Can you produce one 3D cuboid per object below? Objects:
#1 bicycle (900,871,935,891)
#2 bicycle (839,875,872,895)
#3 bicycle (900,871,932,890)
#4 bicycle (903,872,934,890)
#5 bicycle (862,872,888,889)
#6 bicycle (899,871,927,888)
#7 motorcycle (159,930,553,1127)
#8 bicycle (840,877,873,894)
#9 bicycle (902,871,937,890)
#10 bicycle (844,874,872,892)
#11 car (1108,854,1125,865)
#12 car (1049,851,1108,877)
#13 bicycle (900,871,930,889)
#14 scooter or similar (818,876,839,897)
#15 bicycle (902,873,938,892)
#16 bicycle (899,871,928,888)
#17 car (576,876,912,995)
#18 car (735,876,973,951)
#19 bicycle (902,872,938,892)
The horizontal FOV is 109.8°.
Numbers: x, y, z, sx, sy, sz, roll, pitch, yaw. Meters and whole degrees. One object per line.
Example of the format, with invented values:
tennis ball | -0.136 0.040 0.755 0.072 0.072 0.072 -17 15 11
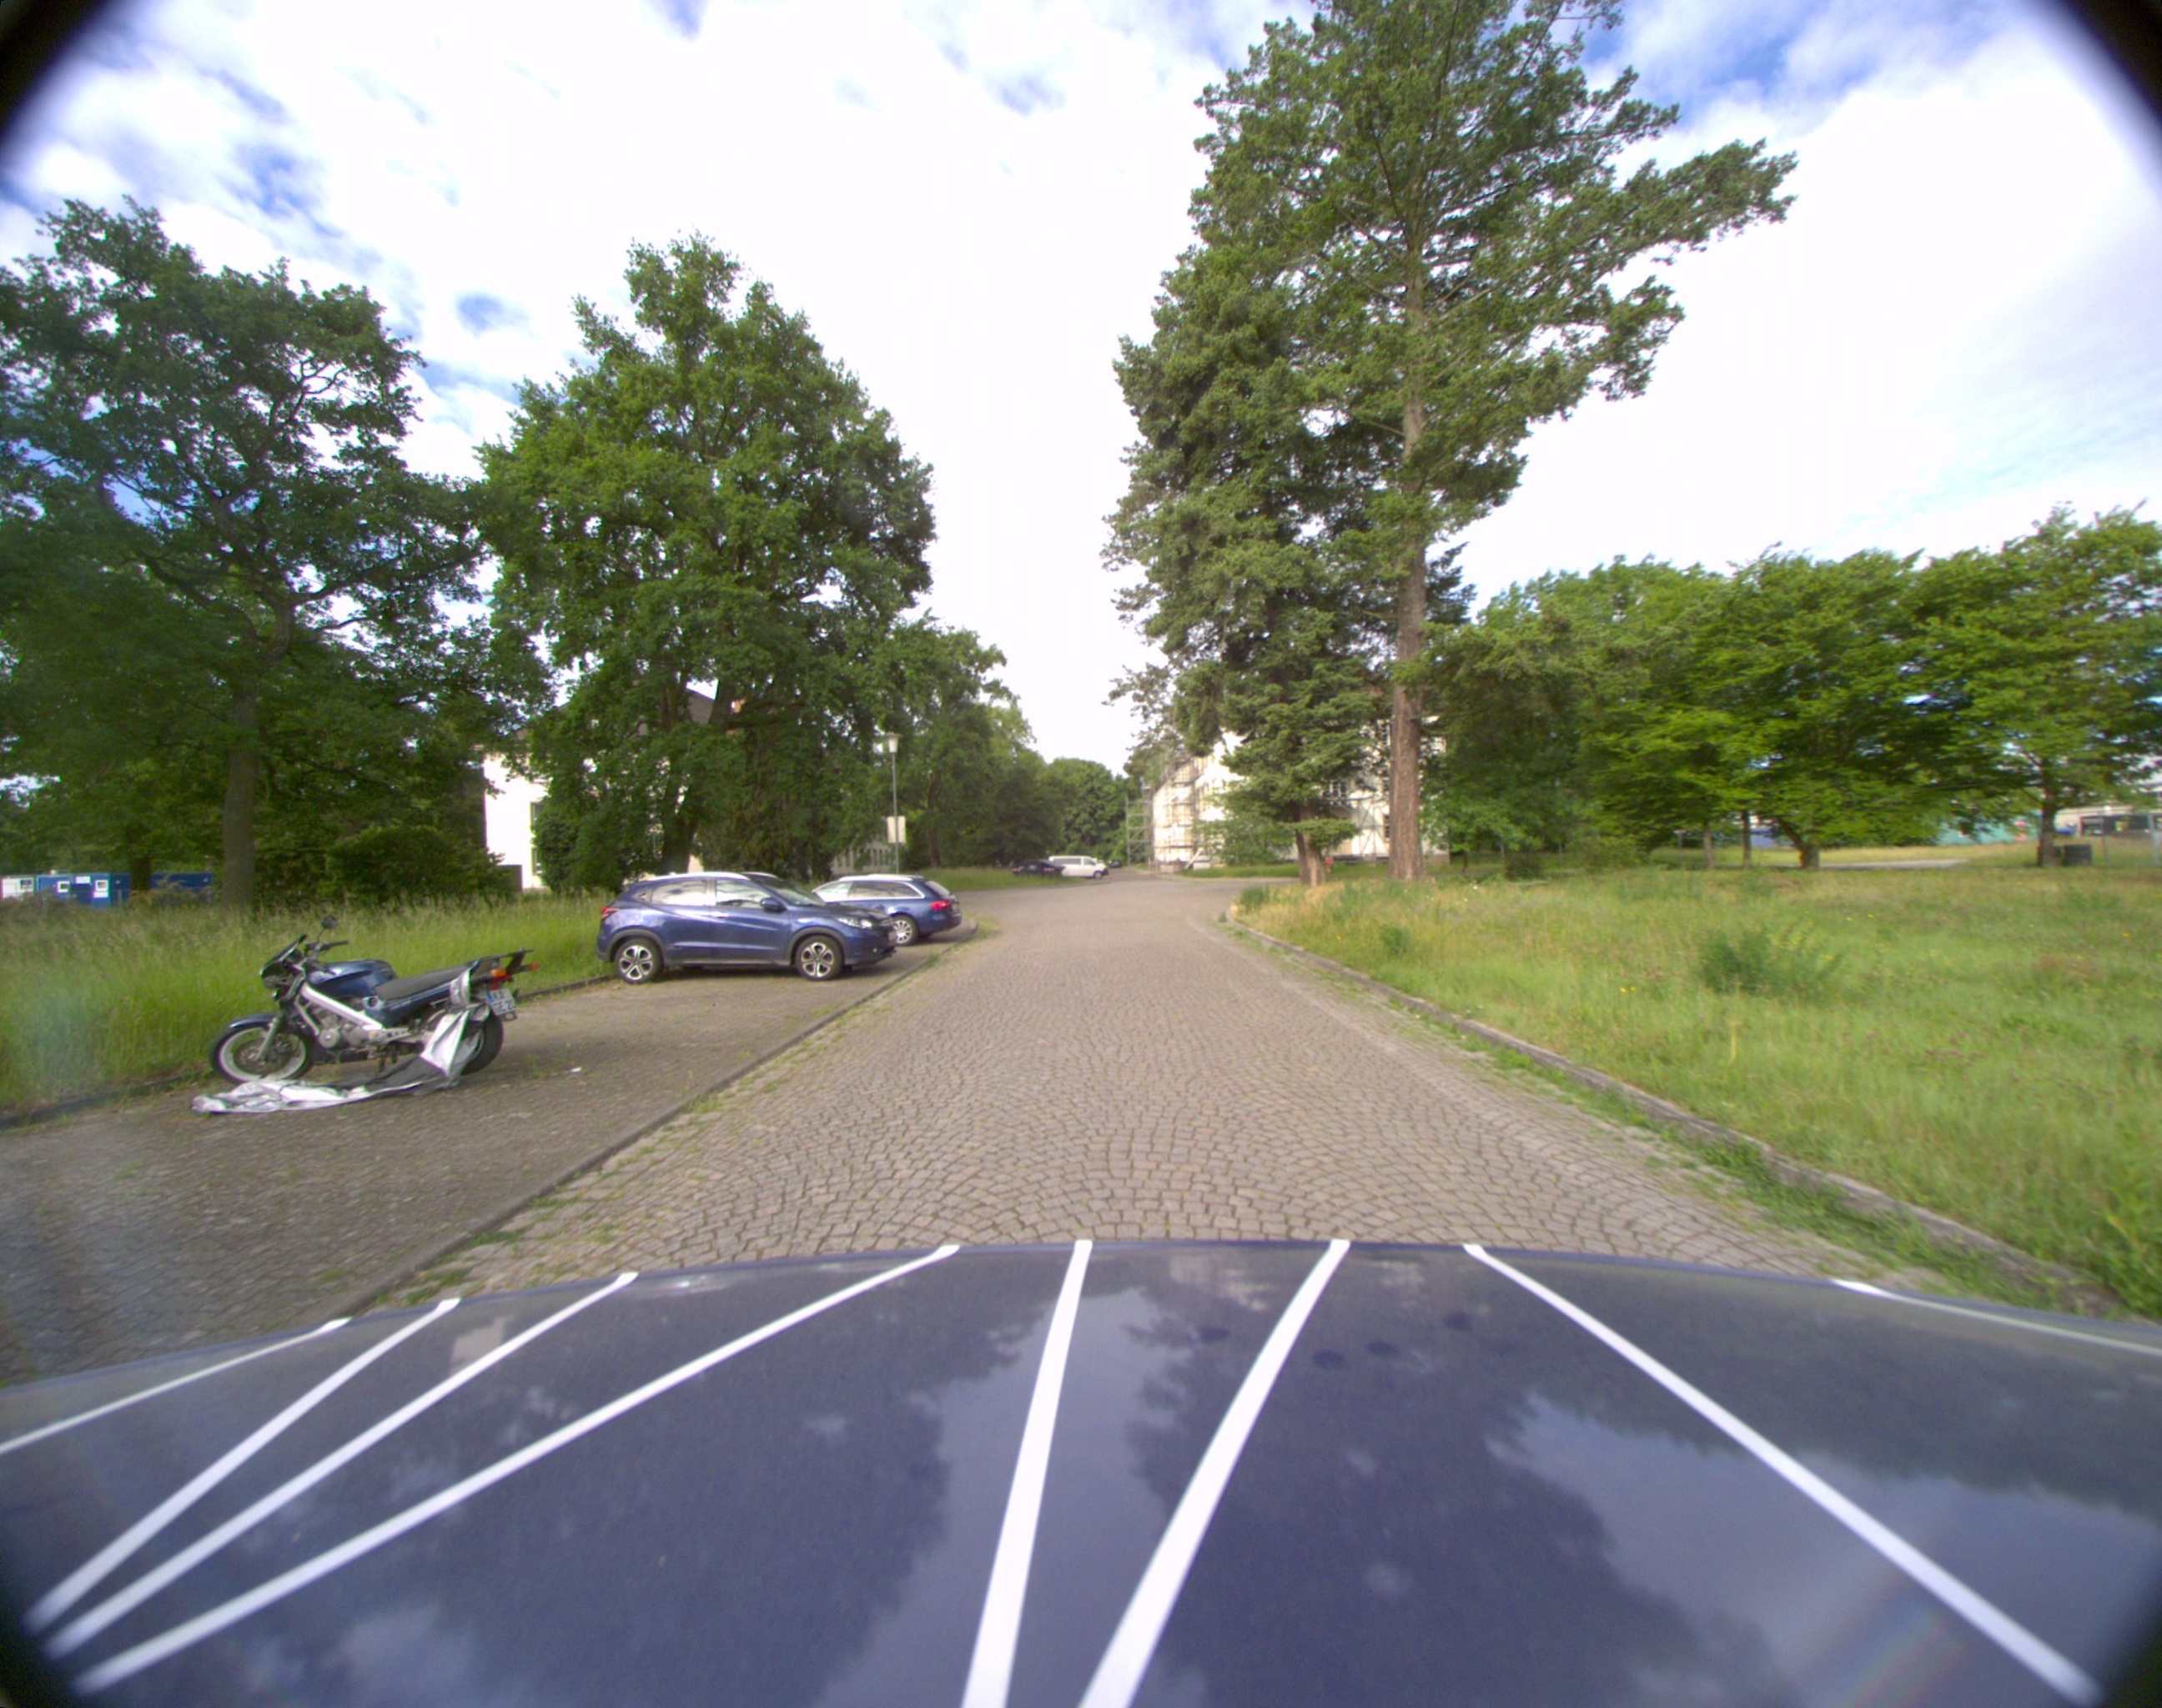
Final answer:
bicycle | -9.966 1.655 46.466 2.020 1.082 0.478 -2 2 -21
bicycle | -13.435 1.831 45.246 1.815 1.082 0.478 -2 3 -26
bicycle | -10.560 1.695 48.623 1.868 1.082 0.519 -2 2 -21
bicycle | -10.233 1.687 47.897 1.791 1.082 0.478 -2 3 -21
bicycle | -13.554 1.715 49.889 1.568 1.028 0.475 -2 0 -23
bicycle | -11.291 1.714 51.202 1.753 1.082 0.552 -2 2 -21
motorcycle | -5.434 1.285 5.799 2.271 1.267 0.605 -2 0 -4
bicycle | -13.525 1.897 45.823 1.859 0.984 0.455 -2 0 -26
bicycle | -10.022 1.641 47.105 2.020 1.082 0.478 -2 2 -21
bicycle | -13.932 1.794 47.504 1.568 1.082 0.561 -2 0 -30
car | 6.159 0.980 131.323 2.028 1.915 3.997 -2 0 -10
car | -0.228 0.859 65.040 4.916 1.983 2.000 -2 0 -2
bicycle | -11.018 1.706 50.471 1.810 1.082 0.552 -2 2 -21
scooter or similar | -14.779 1.878 44.484 1.063 1.187 0.385 -2 0 4
bicycle | -9.610 1.680 45.391 2.020 1.004 0.478 -2 2 -21
bicycle | -11.445 1.714 51.981 1.827 1.082 0.552 -2 2 -21
car | -4.959 1.181 11.640 4.274 1.564 1.895 -1 0 1
car | -4.779 1.246 16.419 4.515 1.456 1.896 -1 0 4
bicycle | -9.508 1.672 44.910 2.020 1.082 0.478 -2 2 -21
